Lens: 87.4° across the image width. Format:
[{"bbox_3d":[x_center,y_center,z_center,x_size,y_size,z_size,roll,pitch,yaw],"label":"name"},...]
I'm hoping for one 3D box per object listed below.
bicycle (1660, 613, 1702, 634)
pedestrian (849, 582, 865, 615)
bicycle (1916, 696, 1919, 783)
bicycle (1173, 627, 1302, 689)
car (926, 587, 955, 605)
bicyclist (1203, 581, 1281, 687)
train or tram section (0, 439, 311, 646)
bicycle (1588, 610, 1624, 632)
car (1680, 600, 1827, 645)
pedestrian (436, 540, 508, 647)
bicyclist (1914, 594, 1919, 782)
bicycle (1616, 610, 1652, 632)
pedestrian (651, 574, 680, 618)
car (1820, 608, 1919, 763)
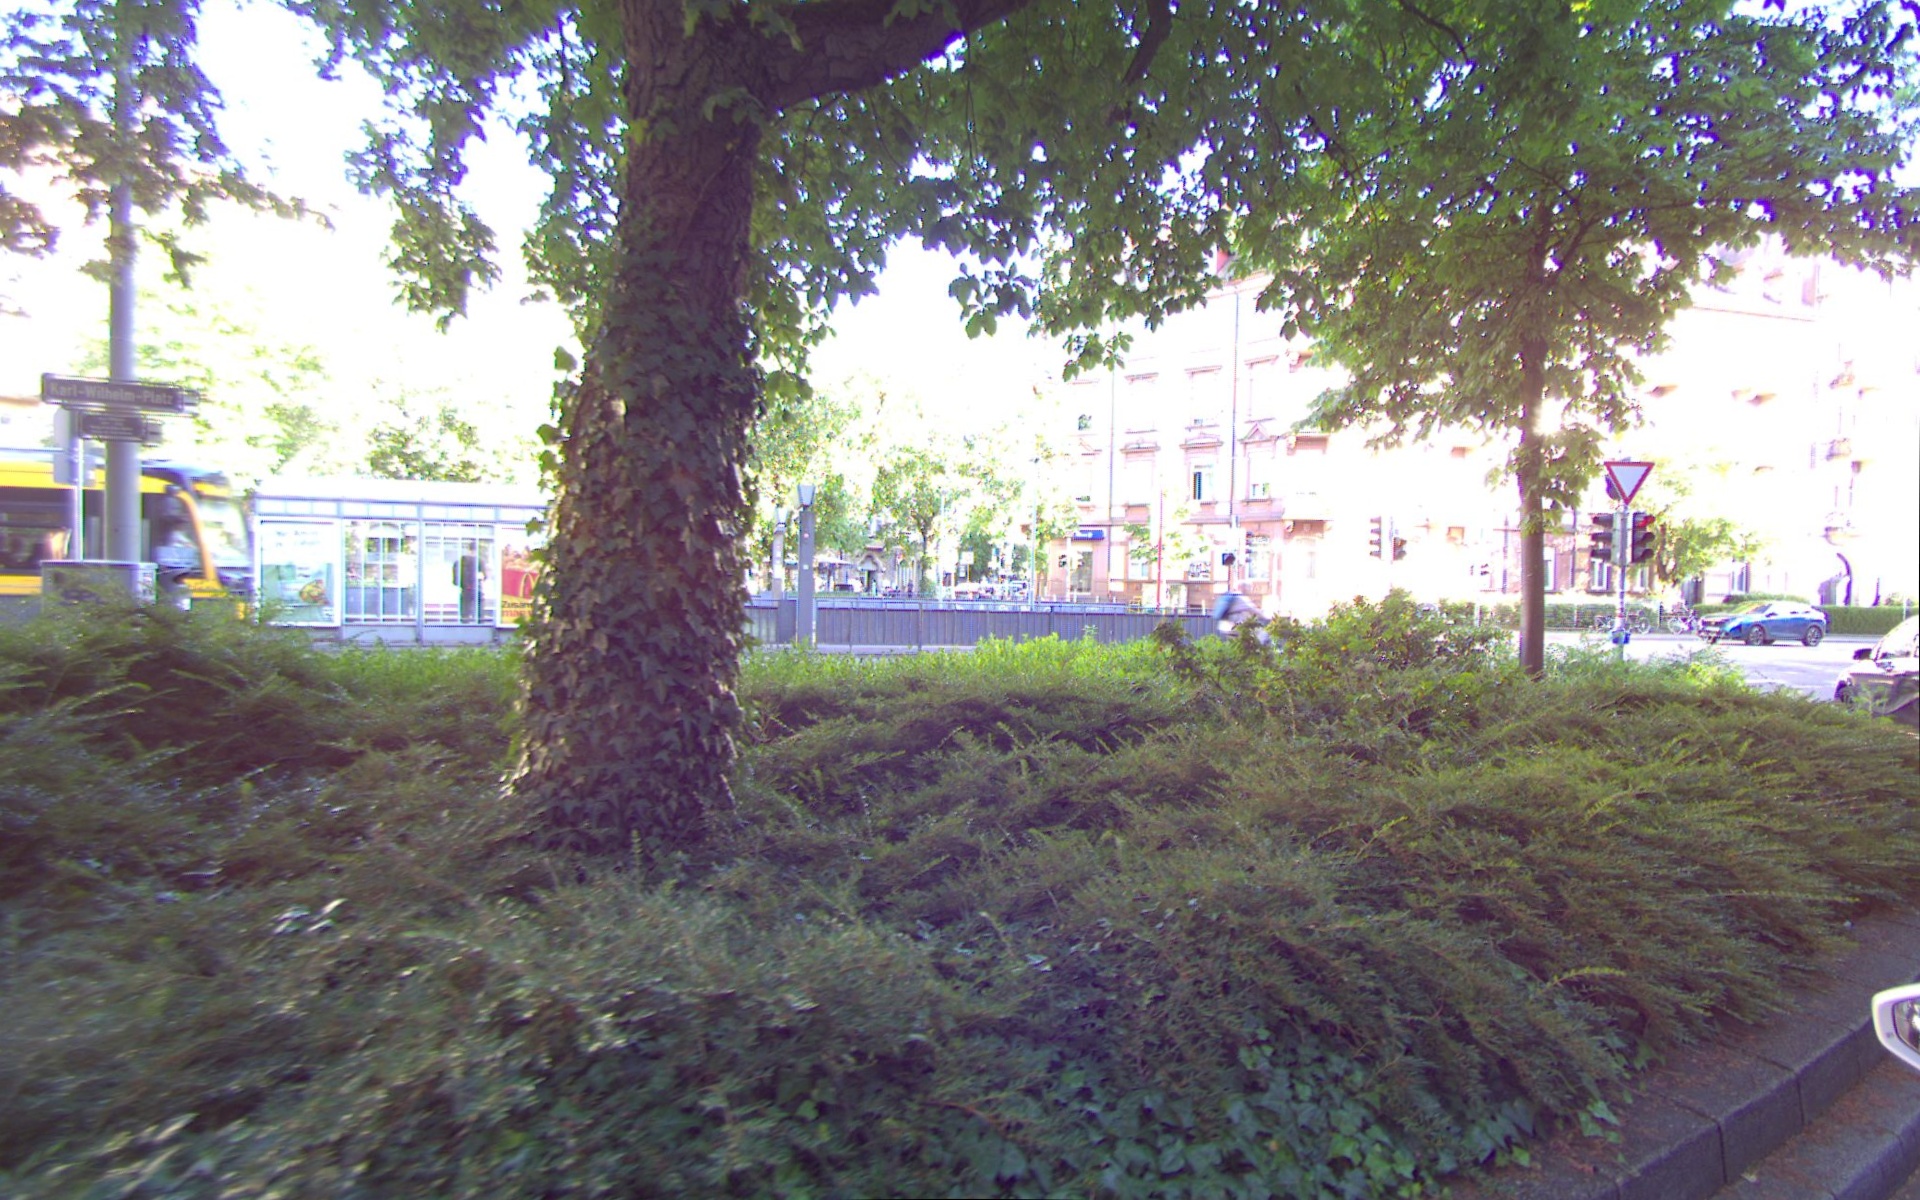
[{"bbox_3d":[31.237,1.005,43.529,1.418,0.873,0.450,2,1,4],"label":"bicycle"},{"bbox_3d":[-6.489,-0.095,63.086,0.789,2.041,0.569,1,1,-30],"label":"pedestrian"},{"bbox_3d":[8.266,1.035,7.929,0.589,1.177,2.036,2,1,32],"label":"bicycle"},{"bbox_3d":[4.664,0.976,16.940,1.947,0.971,0.769,1,1,-11],"label":"bicycle"},{"bbox_3d":[-1.810,-0.416,94.783,1.730,1.629,4.001,2,1,14],"label":"car"},{"bbox_3d":[4.744,0.570,16.960,1.028,1.739,0.695,1,1,-11],"label":"bicyclist"},{"bbox_3d":[-16.856,-1.058,19.706,6.239,3.690,2.914,1,1,-14],"label":"train or tram section"},{"bbox_3d":[27.690,0.908,43.034,1.199,0.873,0.450,2,1,4],"label":"bicycle"},{"bbox_3d":[29.744,0.843,37.708,4.297,1.516,1.996,1,1,-11],"label":"car"},{"bbox_3d":[-9.045,-0.123,18.672,1.002,1.923,0.910,1,1,-13],"label":"pedestrian"},{"bbox_3d":[8.193,0.572,7.803,0.838,1.924,1.137,1,1,30],"label":"bicyclist"},{"bbox_3d":[28.874,0.903,43.039,1.199,0.873,0.450,2,1,4],"label":"bicycle"},{"bbox_3d":[-10.918,-0.152,37.274,0.796,1.564,0.820,3,1,-3],"label":"pedestrian"},{"bbox_3d":[10.973,0.872,10.702,1.785,1.564,3.955,0,-1,26],"label":"car"}]
